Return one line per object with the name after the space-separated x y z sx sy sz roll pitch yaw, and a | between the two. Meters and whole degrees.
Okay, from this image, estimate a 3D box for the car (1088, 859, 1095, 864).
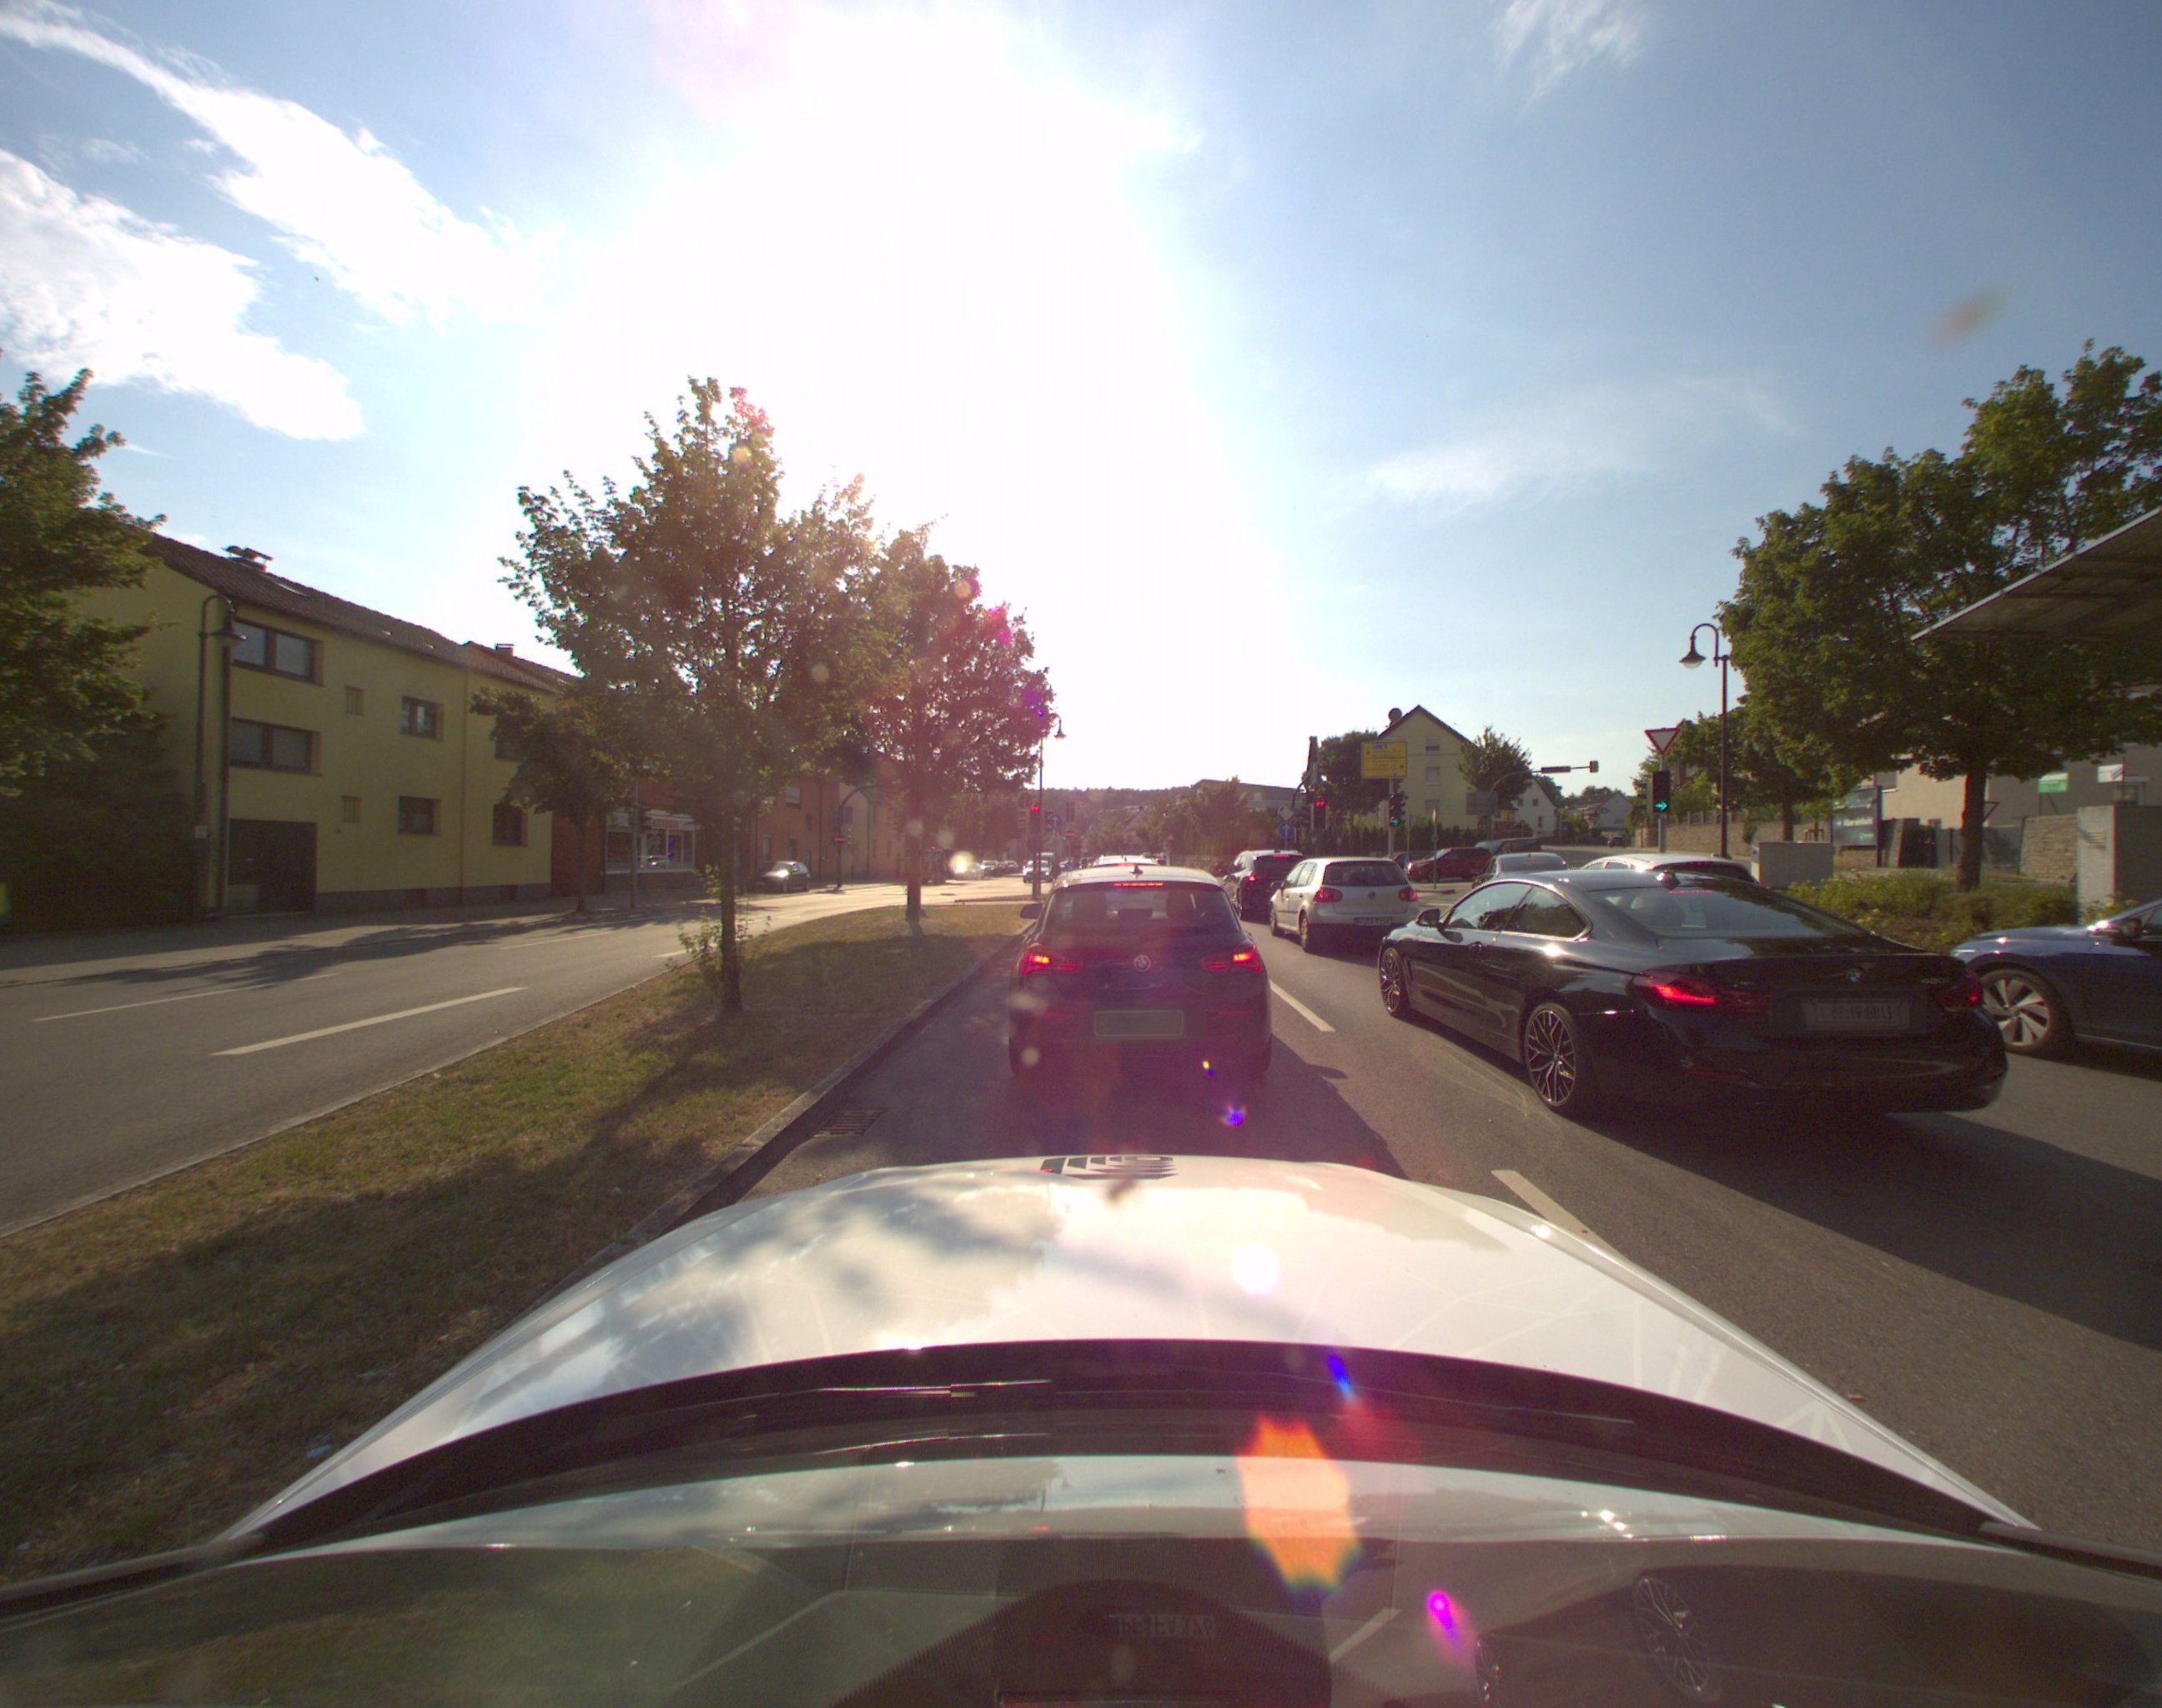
3.238 2.245 247.478 1.729 1.301 3.804 4 0 5 | car

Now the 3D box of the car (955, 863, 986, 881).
-9.112 1.495 67.372 1.729 1.301 3.804 4 0 5 | car

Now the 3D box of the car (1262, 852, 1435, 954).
4.326 0.719 13.795 1.755 1.426 3.905 -2 0 2 | car

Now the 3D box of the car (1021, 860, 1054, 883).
-2.949 1.153 55.769 1.832 1.482 4.002 -1 0 2 | car

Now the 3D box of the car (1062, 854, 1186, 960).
0.723 0.782 14.143 1.781 1.494 4.283 -2 0 2 | car

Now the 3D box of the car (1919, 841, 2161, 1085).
7.415 0.656 4.262 1.754 1.453 4.323 -2 0 4 | car

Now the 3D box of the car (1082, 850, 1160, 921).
1.024 0.742 21.182 1.781 1.594 4.283 -2 0 2 | car

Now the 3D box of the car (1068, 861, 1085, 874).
-0.557 1.570 97.660 1.832 1.482 4.002 -1 0 2 | car

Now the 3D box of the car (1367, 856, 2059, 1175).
3.624 0.743 5.854 1.755 1.397 4.283 -2 0 2 | car

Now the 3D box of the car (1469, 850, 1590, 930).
9.886 0.718 18.270 1.642 1.542 4.420 -2 0 19 | car

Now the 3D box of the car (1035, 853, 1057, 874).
-4.000 1.062 93.495 2.076 2.394 5.531 0 0 2 | car

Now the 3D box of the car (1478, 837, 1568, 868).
25.370 -0.083 46.787 4.784 1.739 1.836 0 0 -20 | car

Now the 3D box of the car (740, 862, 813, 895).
-14.135 1.111 38.063 1.730 1.301 4.002 4 0 2 | car

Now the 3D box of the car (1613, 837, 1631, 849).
77.571 -1.572 116.710 1.945 1.680 4.242 -2 0 36 | car

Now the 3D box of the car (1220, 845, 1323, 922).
4.573 0.653 20.077 1.755 1.656 3.905 -2 0 2 | car

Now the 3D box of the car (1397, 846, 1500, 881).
18.353 0.462 40.769 4.410 1.641 1.845 0 0 -6 | car

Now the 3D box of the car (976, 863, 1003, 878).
-8.760 1.543 78.047 1.729 1.301 3.804 4 0 5 | car

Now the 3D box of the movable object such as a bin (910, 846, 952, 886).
-9.856 0.770 53.703 1.729 2.442 4.452 -1 0 3 | movable object such as a bin

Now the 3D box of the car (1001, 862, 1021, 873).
-8.838 1.685 103.289 1.729 1.301 3.804 4 0 5 | car

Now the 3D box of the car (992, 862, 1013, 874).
-9.346 1.647 97.600 1.729 1.301 3.804 4 0 5 | car

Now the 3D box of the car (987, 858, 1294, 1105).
0.446 0.775 6.999 1.781 1.397 4.283 -2 0 2 | car

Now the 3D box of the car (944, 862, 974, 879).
-11.045 1.466 73.888 1.729 1.301 4.005 4 0 5 | car

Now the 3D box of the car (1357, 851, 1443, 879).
17.349 0.575 44.392 3.974 1.489 1.848 0 0 -1 | car

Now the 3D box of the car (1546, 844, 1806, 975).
8.115 0.675 11.496 1.608 1.542 3.326 -2 0 9 | car

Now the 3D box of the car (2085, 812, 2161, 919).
18.498 0.165 12.417 3.793 1.632 1.784 0 0 10 | car
